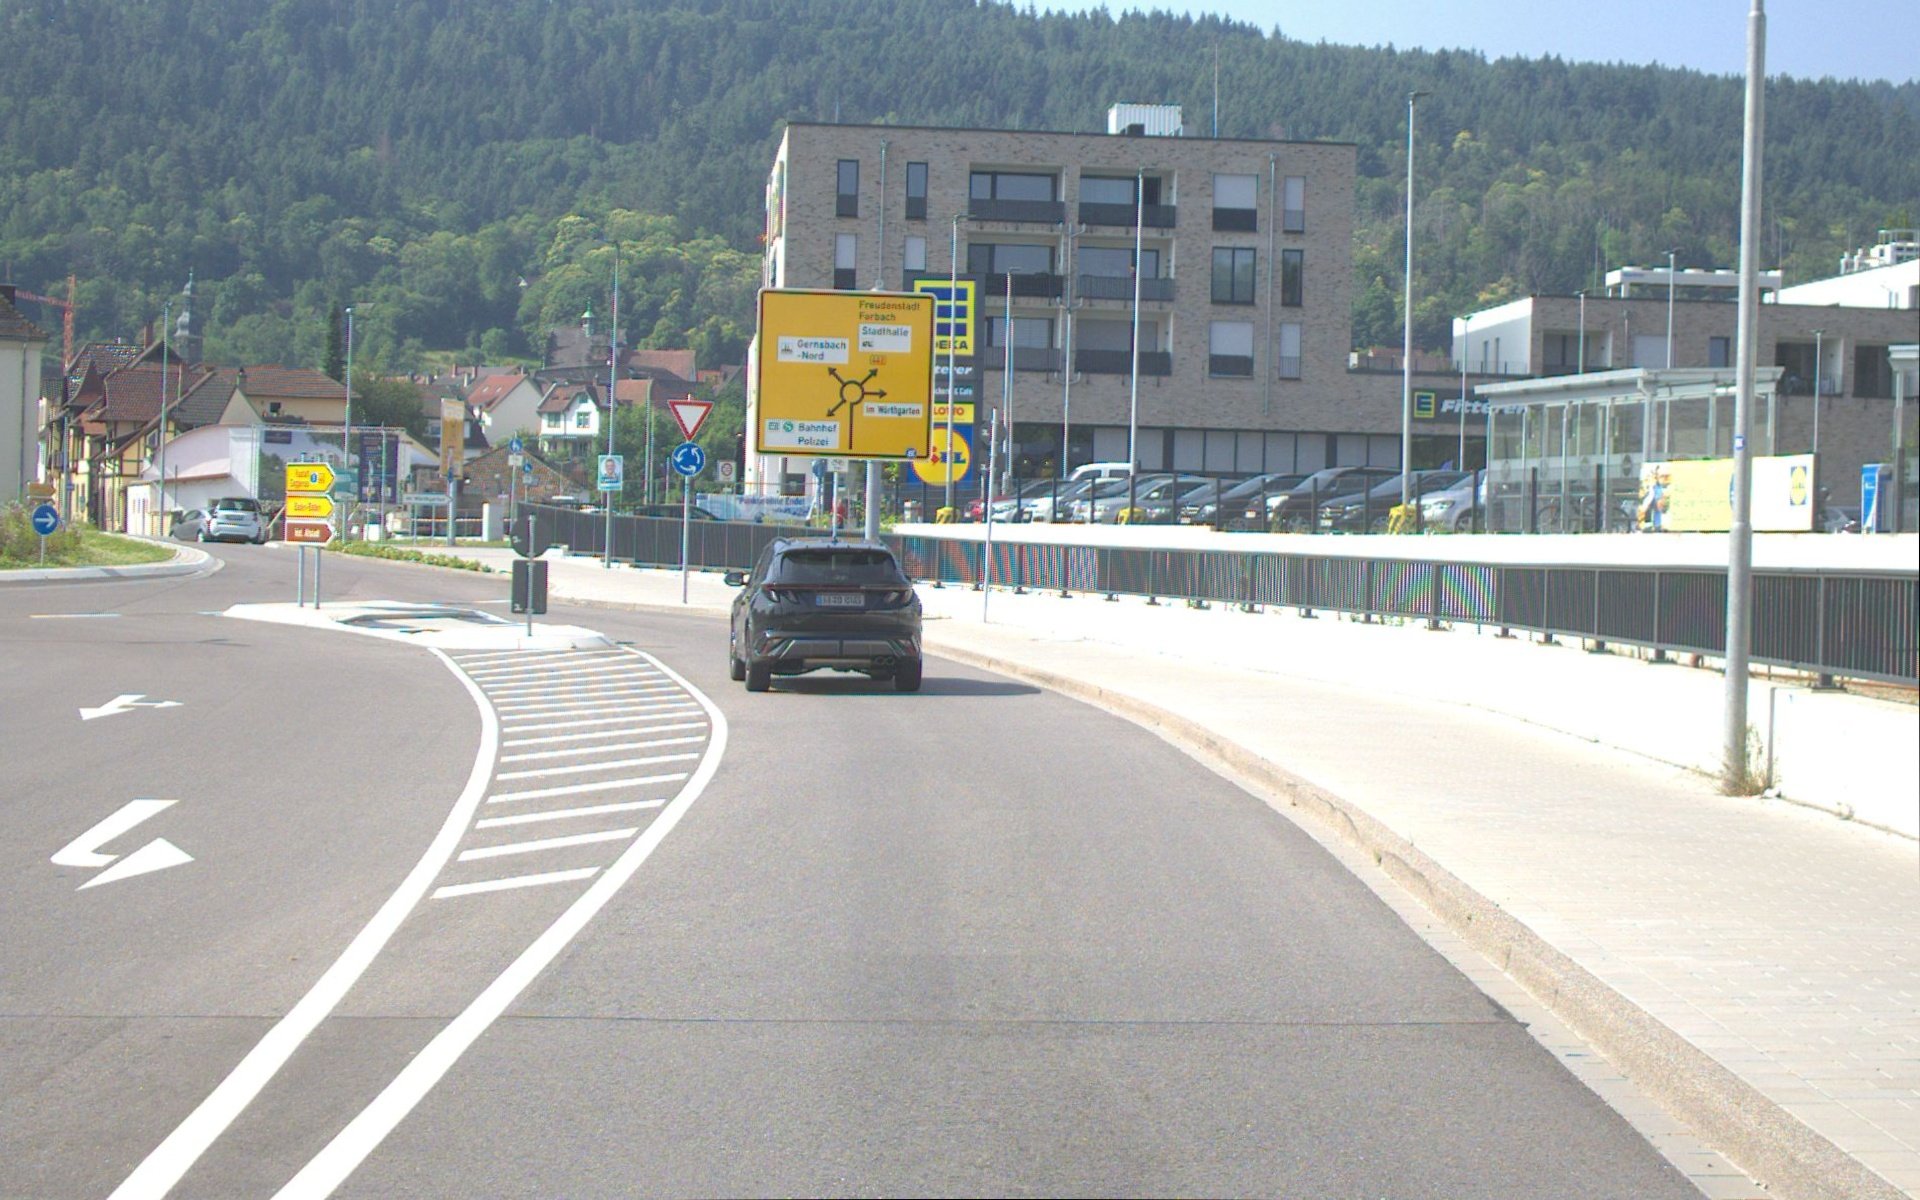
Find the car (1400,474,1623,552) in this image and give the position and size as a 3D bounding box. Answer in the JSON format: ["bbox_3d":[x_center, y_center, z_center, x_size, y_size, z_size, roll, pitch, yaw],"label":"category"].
[{"bbox_3d":[10.515,-1.655,65.596,3.804,1.359,1.681,1,2,-19],"label":"car"}]

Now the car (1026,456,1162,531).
[{"bbox_3d":[3.992,-3.153,102.226,3.987,2.128,2.000,1,1,3],"label":"car"}]

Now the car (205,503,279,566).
[{"bbox_3d":[-23.342,-2.122,111.874,1.993,2.007,4.001,1,1,-7],"label":"car"}]

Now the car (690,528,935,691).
[{"bbox_3d":[-1.681,0.071,37.754,1.880,1.678,4.001,1,1,-14],"label":"car"}]

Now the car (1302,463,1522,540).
[{"bbox_3d":[9.016,-1.967,68.577,4.060,1.399,1.486,1,2,-19],"label":"car"}]

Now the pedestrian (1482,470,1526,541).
[{"bbox_3d":[10.140,-1.763,64.102,0.547,1.307,0.657,1,1,-17],"label":"pedestrian"}]

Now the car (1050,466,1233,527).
[{"bbox_3d":[4.368,-2.495,82.888,4.035,1.338,1.661,1,2,-18],"label":"car"}]

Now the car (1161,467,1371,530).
[{"bbox_3d":[6.705,-2.230,75.453,4.212,1.241,1.745,1,2,-19],"label":"car"}]

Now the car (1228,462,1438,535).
[{"bbox_3d":[7.842,-2.143,72.304,4.004,1.399,1.726,1,2,-19],"label":"car"}]

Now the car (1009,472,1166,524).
[{"bbox_3d":[3.197,-2.566,86.442,3.554,1.195,1.715,1,2,-18],"label":"car"}]

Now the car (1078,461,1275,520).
[{"bbox_3d":[5.081,-2.578,80.853,4.277,1.241,1.665,1,2,-19],"label":"car"}]
